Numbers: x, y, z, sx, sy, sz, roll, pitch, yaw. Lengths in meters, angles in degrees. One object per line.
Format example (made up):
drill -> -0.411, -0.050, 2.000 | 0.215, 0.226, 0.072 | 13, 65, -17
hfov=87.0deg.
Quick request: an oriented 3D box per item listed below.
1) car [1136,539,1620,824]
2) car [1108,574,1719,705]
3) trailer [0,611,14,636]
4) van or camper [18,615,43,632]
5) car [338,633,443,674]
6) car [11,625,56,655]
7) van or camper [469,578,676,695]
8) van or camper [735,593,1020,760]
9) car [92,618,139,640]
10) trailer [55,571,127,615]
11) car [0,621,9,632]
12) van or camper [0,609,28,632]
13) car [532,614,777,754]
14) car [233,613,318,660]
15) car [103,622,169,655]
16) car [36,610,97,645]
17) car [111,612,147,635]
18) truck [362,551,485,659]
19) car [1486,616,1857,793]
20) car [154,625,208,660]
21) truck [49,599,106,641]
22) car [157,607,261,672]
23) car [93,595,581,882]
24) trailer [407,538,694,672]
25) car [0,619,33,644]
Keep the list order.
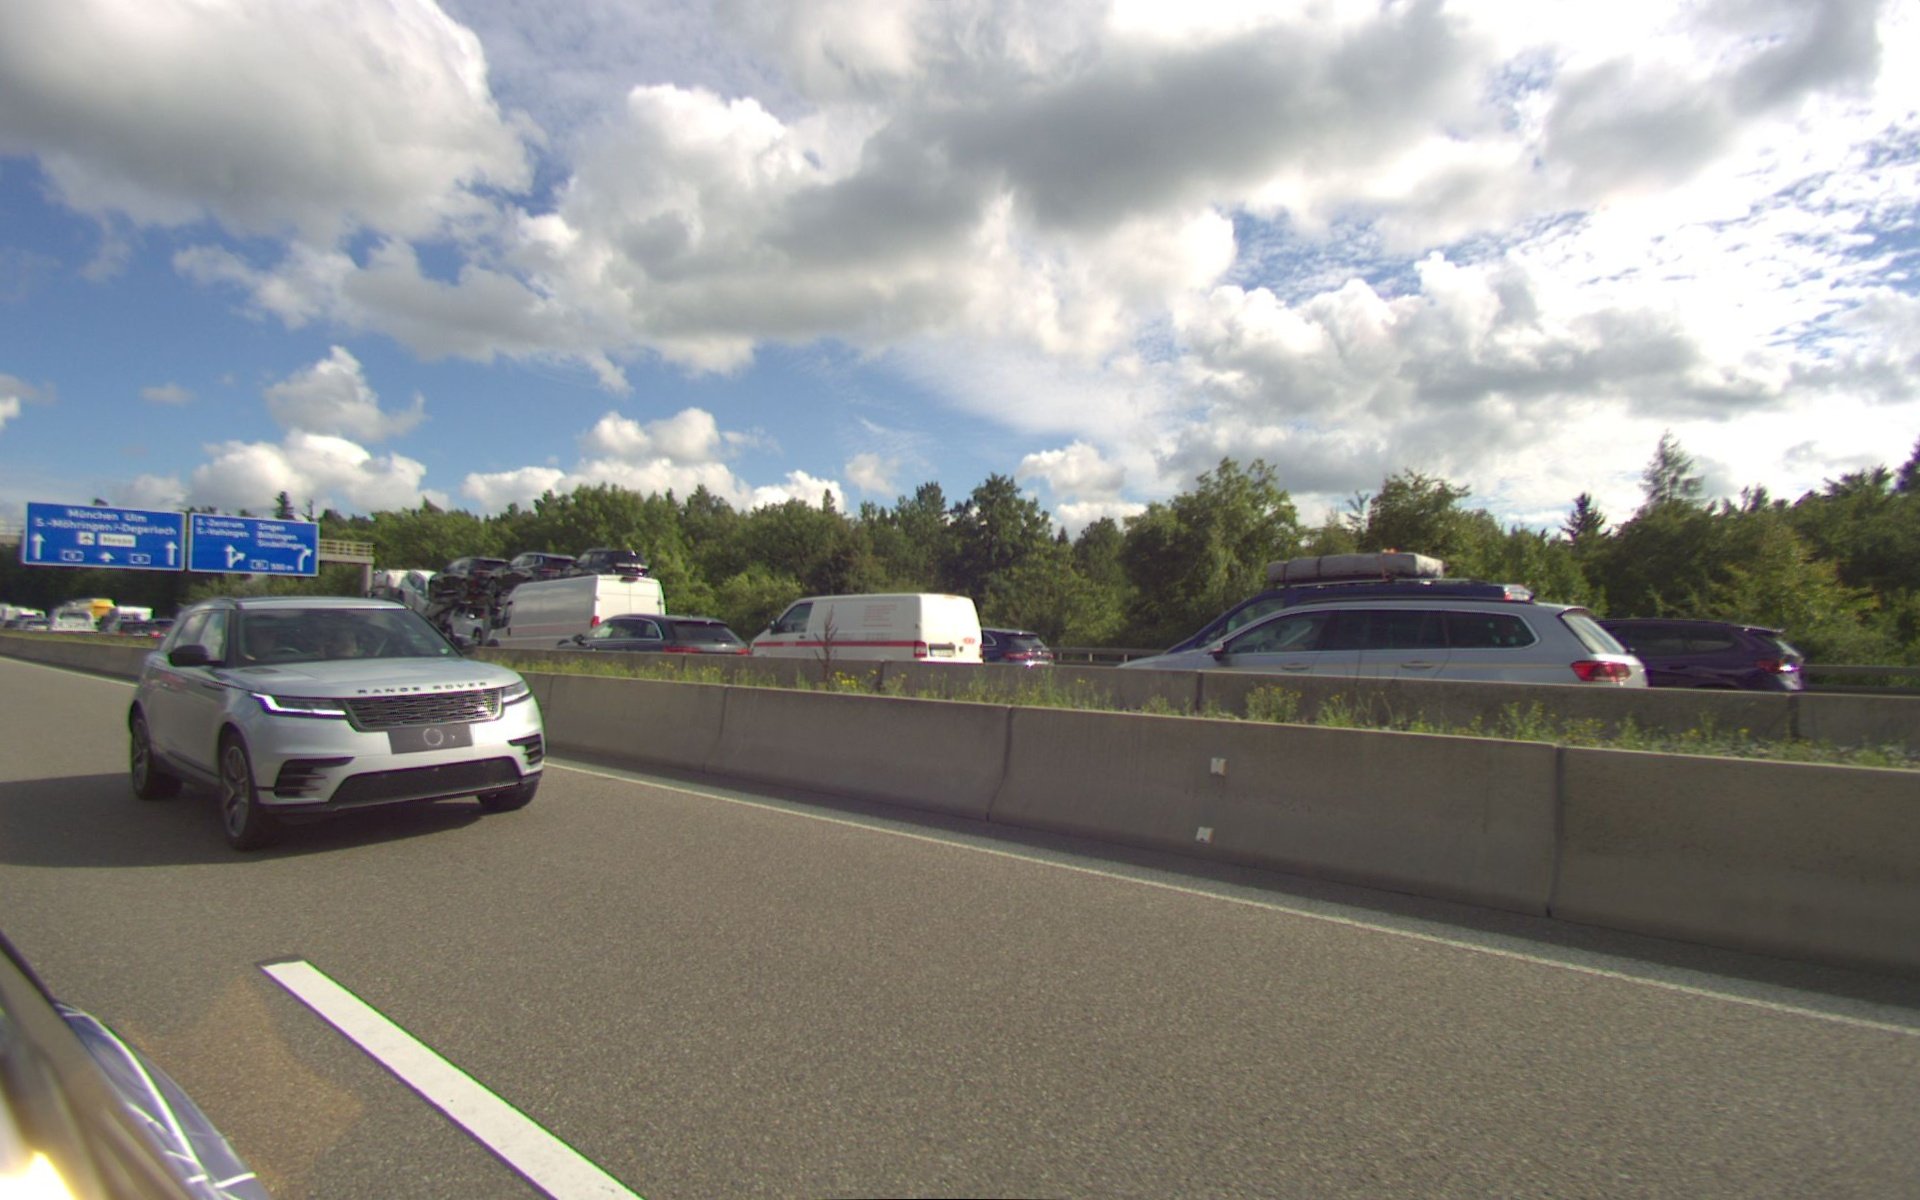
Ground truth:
car -> 5.179, 0.891, 13.134 | 5.400, 2.985, 1.973 | -2, 0, 41
car -> 3.687, 0.292, 8.840 | 4.603, 0.864, 1.618 | -2, 0, 41
trailer -> -145.867, 3.535, 153.200 | 10.216, 3.686, 2.857 | -2, 0, 42
van or camper -> -115.957, 2.939, 126.320 | 2.256, 2.026, 4.694 | -1, 0, -42
car -> -19.989, 1.834, 35.429 | 4.564, 1.240, 1.813 | -1, -1, 41
car -> -61.333, 2.593, 66.978 | 3.949, 1.890, 1.781 | -1, -1, 42
van or camper -> -10.351, 0.836, 26.691 | 6.630, 2.731, 2.366 | 0, 0, 42
van or camper -> -1.725, 1.240, 19.203 | 5.749, 2.731, 2.023 | 0, 0, 42
car -> -58.693, 2.012, 70.301 | 5.374, 1.460, 1.769 | -1, -1, 42
trailer -> -81.200, -0.558, 94.419 | 13.255, 3.857, 3.376 | -1, -1, 42
car -> -84.128, 2.299, 88.005 | 5.461, 0.934, 1.650 | -1, -1, 42
van or camper -> -130.436, 2.789, 139.283 | 7.480, 2.911, 2.443 | 1, 1, 42
car -> -5.270, 1.276, 17.169 | 4.409, 2.029, 1.972 | 0, -1, 42
car -> -28.988, 1.499, 42.804 | 4.695, 1.890, 1.891 | -1, -1, 42
car -> -36.377, 1.683, 44.632 | 3.999, 1.383, 1.677 | -2, -2, 42
car -> -50.147, 1.544, 56.771 | 4.177, 1.815, 2.065 | -2, 0, 42
car -> -69.691, 1.973, 84.856 | 3.949, 1.890, 1.781 | -1, -1, 42
truck -> -22.973, 0.236, 43.261 | 5.711, 4.266, 2.823 | -1, 0, 42
car -> 9.616, 1.269, 13.904 | 3.998, 2.029, 1.626 | 0, 0, 41
car -> -45.149, 2.433, 58.646 | 3.949, 1.890, 1.781 | -1, -1, 42
truck -> -86.926, 1.953, 99.625 | 6.799, 3.930, 3.381 | -2, 0, 41
car -> -26.569, 1.315, 35.746 | 5.277, 2.116, 1.972 | 0, 0, 42
car -> -5.224, 0.828, 8.120 | 5.102, 1.619, 1.880 | -1, -1, 41
trailer -> -15.420, 0.255, 36.601 | 15.998, 4.005, 2.801 | -1, -1, 42
car -> -72.980, 2.390, 78.048 | 4.936, 1.812, 1.748 | -1, -1, 42
